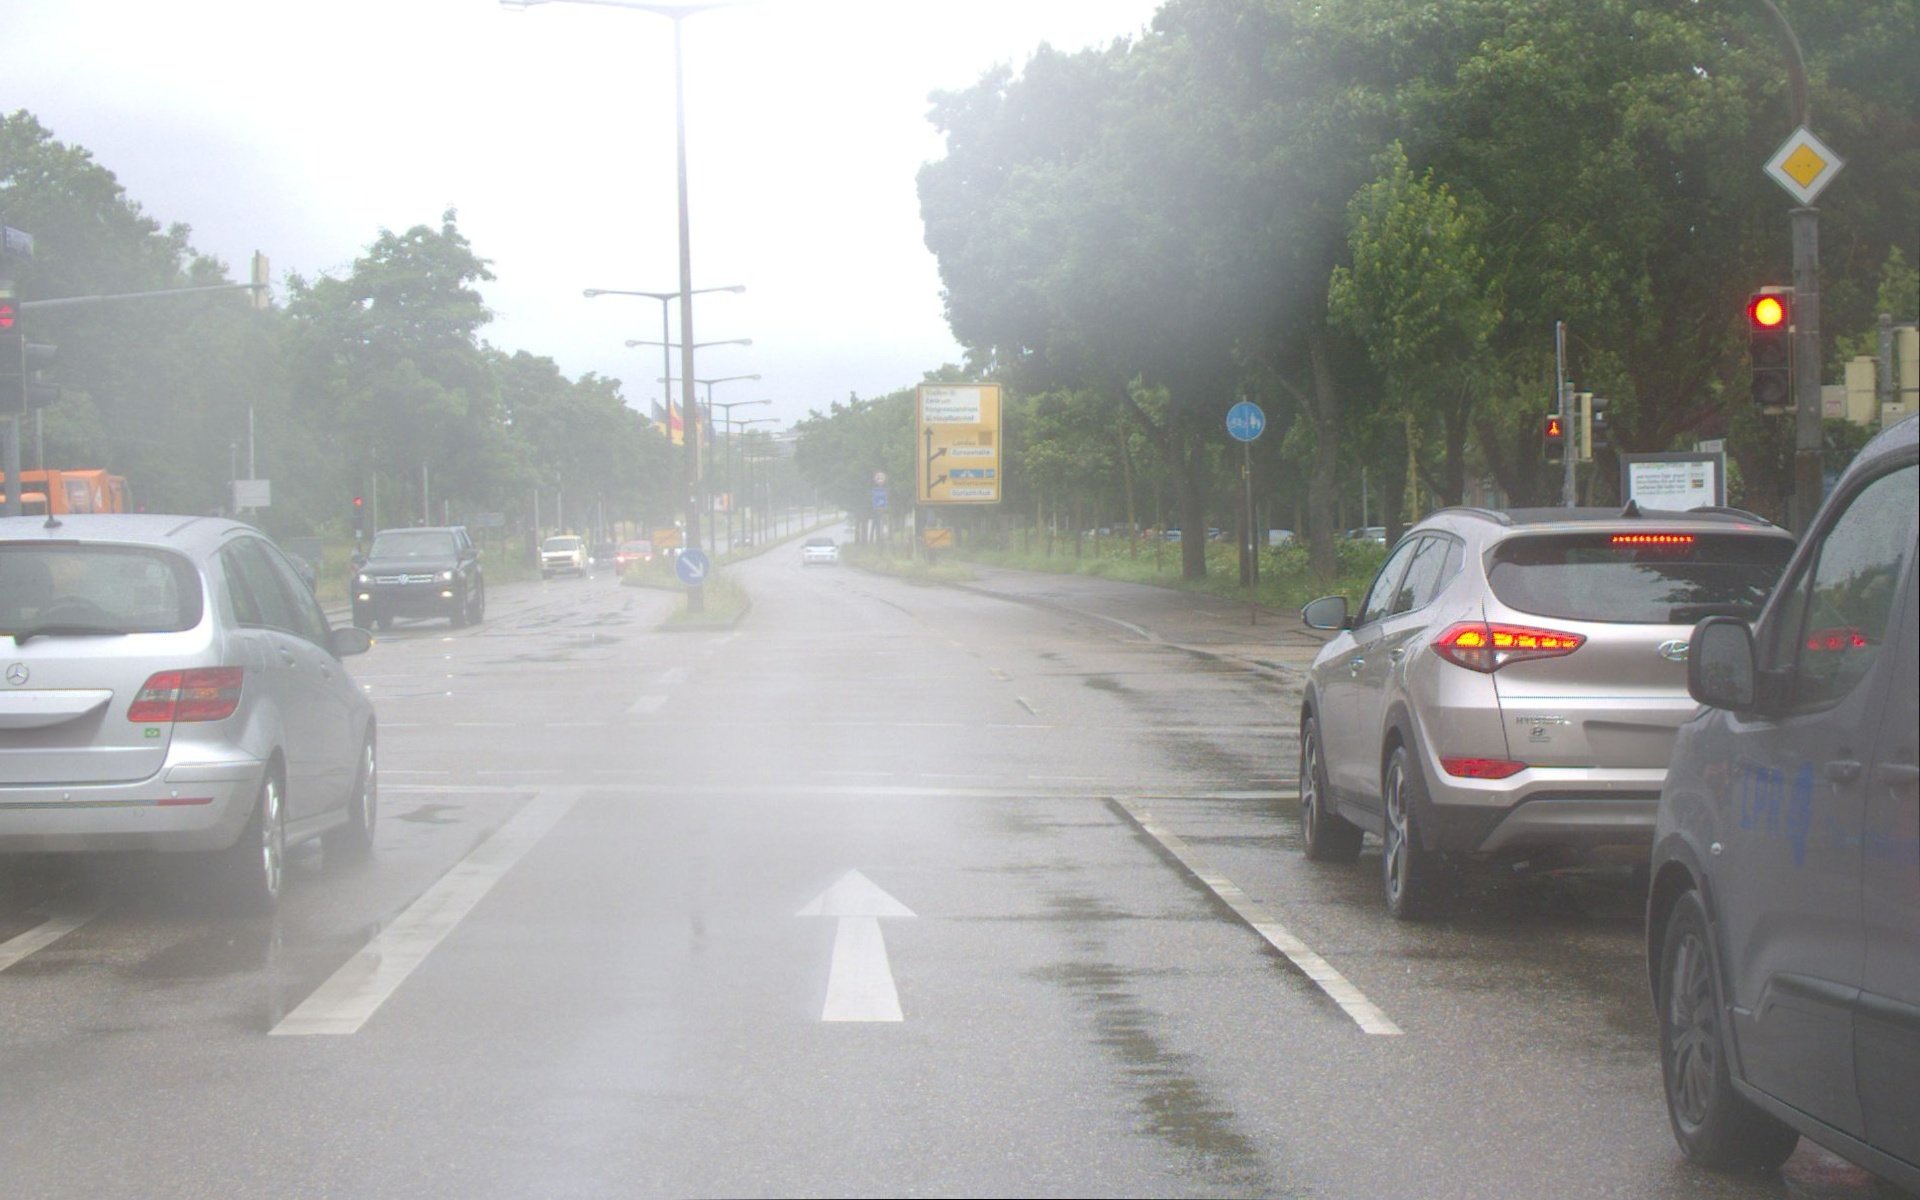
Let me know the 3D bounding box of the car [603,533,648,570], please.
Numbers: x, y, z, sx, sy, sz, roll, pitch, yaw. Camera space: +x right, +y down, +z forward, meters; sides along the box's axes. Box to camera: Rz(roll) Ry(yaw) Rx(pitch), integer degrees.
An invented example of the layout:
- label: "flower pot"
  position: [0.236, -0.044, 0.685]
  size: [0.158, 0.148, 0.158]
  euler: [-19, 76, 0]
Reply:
- label: "car"
  position: [-15.077, -2.168, 155.146]
  size: [1.801, 1.564, 4.429]
  euler: [-3, 0, -3]

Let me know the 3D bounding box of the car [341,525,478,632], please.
- label: "car"
  position: [-9.807, -0.422, 61.581]
  size: [1.805, 1.767, 5.090]
  euler: [-2, 1, -3]

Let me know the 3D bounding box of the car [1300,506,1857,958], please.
- label: "car"
  position: [2.438, 0.457, 14.530]
  size: [1.884, 1.605, 4.195]
  euler: [1, 0, 4]

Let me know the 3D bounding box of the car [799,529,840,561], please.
- label: "car"
  position: [-6.709, -2.649, 164.415]
  size: [1.907, 1.509, 4.001]
  euler: [-1, 1, -2]

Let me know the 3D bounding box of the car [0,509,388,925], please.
- label: "car"
  position: [-3.580, 0.408, 14.820]
  size: [1.736, 1.539, 4.014]
  euler: [-1, 1, -3]

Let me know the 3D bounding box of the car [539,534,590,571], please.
- label: "car"
  position: [-17.748, -2.157, 154.470]
  size: [1.894, 1.605, 4.501]
  euler: [-1, 1, -2]

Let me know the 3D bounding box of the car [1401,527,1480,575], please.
- label: "car"
  position: [15.408, -1.573, 110.325]
  size: [1.637, 1.481, 4.074]
  euler: [1, 0, -5]

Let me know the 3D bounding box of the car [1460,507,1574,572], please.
- label: "car"
  position: [15.568, -1.684, 96.349]
  size: [1.993, 1.711, 4.879]
  euler: [-2, 1, -4]

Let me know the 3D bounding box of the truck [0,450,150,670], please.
- label: "truck"
  position: [-19.250, -0.824, 70.156]
  size: [3.384, 4.153, 10.408]
  euler: [1, 0, -3]

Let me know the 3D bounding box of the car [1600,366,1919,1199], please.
- label: "car"
  position: [2.665, 0.486, 6.566]
  size: [1.993, 1.789, 4.562]
  euler: [0, 1, 0]
